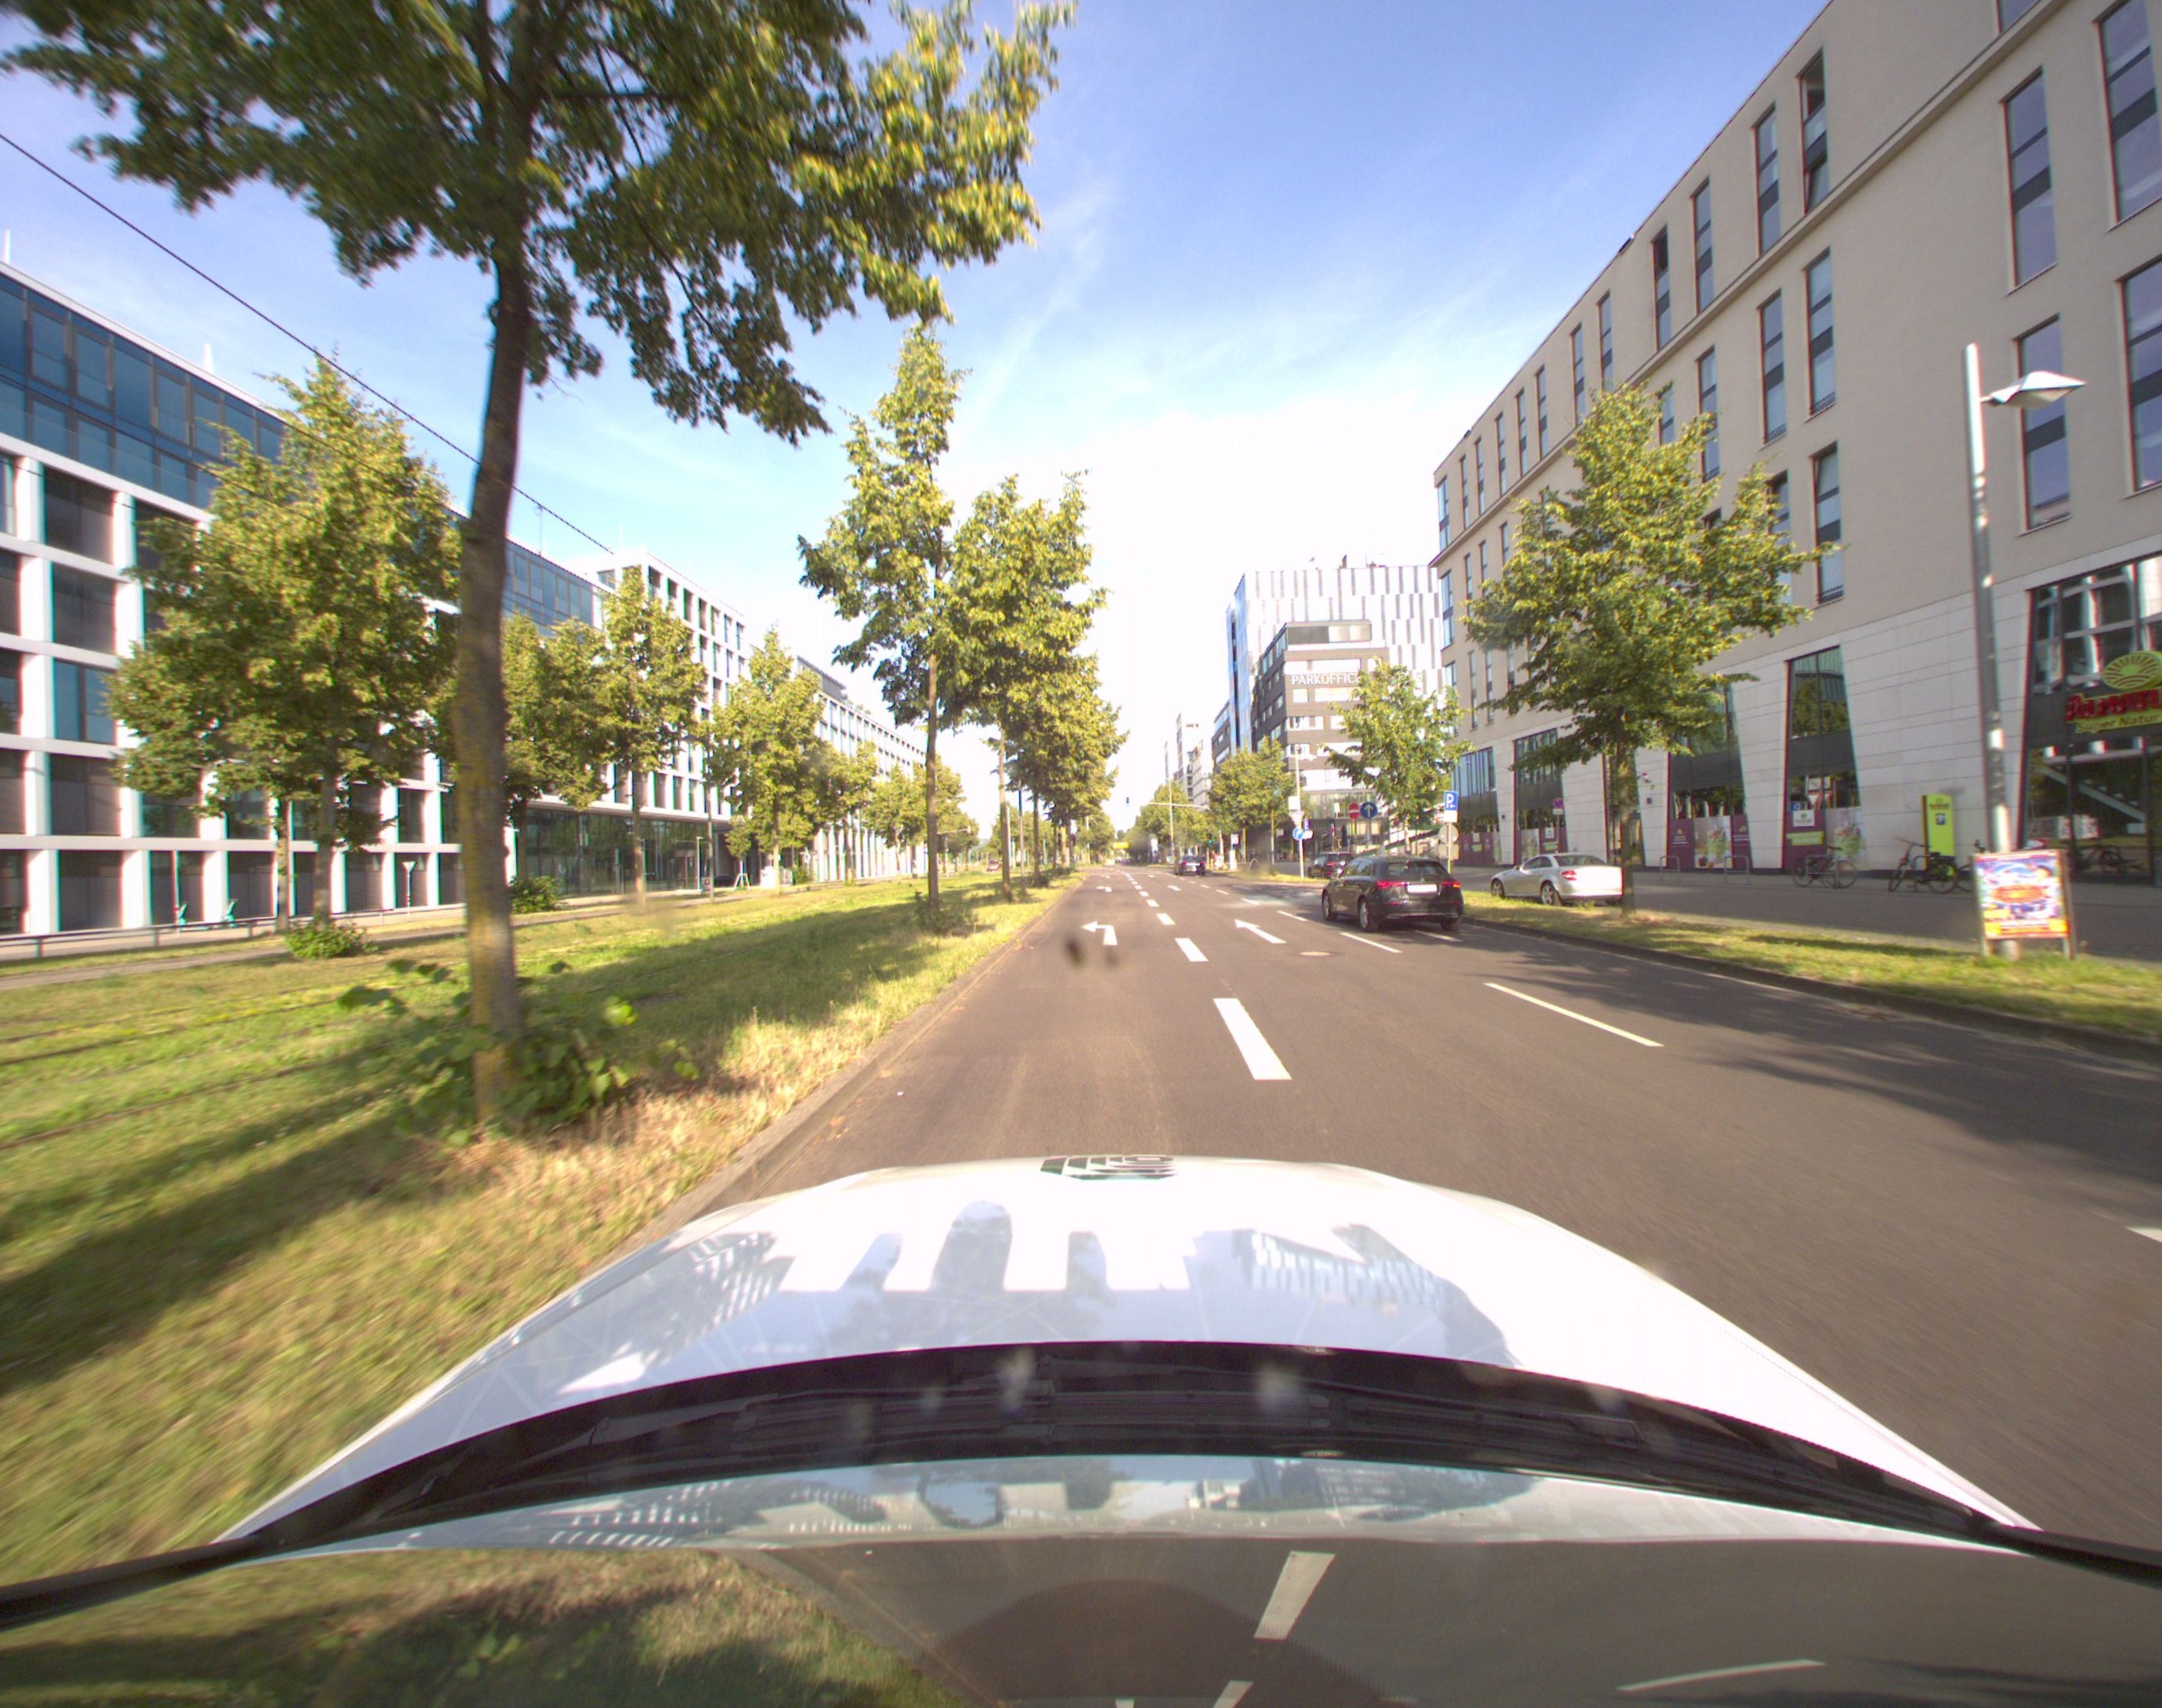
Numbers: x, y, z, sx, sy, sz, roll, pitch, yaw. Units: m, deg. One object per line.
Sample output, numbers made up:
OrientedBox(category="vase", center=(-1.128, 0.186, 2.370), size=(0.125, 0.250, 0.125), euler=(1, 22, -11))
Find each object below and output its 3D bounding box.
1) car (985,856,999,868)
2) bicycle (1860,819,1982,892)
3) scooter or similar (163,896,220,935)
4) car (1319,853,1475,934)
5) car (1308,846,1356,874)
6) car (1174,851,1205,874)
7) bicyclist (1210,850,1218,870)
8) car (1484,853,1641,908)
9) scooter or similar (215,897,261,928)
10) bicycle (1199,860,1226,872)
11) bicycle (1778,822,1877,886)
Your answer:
OrientedBox(category="car", center=(-12.753, 1.173, 116.649), size=(1.679, 1.775, 3.880), euler=(0, -1, -2))
OrientedBox(category="bicycle", center=(19.092, 0.054, 18.589), size=(0.553, 1.567, 2.214), euler=(0, -1, 3))
OrientedBox(category="scooter or similar", center=(-34.847, 2.414, 31.896), size=(1.919, 1.477, 0.415), euler=(0, -1, 5))
OrientedBox(category="car", center=(6.218, 0.731, 16.516), size=(1.767, 1.424, 3.963), euler=(0, -1, 2))
OrientedBox(category="car", center=(12.769, 0.330, 41.616), size=(1.598, 1.370, 4.165), euler=(0, -1, 7))
OrientedBox(category="car", center=(7.519, 0.608, 56.741), size=(1.852, 1.524, 3.787), euler=(0, -1, 2))
OrientedBox(category="bicyclist", center=(11.099, 0.514, 68.166), size=(0.573, 1.707, 0.540), euler=(0, -1, -2))
OrientedBox(category="car", center=(11.875, 0.624, 20.408), size=(1.702, 1.242, 3.906), euler=(0, -1, 1))
OrientedBox(category="scooter or similar", center=(-35.124, 2.426, 33.956), size=(0.333, 1.226, 1.304), euler=(-1, -1, 15))
OrientedBox(category="bicycle", center=(10.979, 1.001, 68.155), size=(2.128, 1.013, 0.571), euler=(0, -1, -2))
OrientedBox(category="bicycle", center=(19.335, 0.020, 21.169), size=(0.553, 1.571, 2.277), euler=(0, -1, 3))
